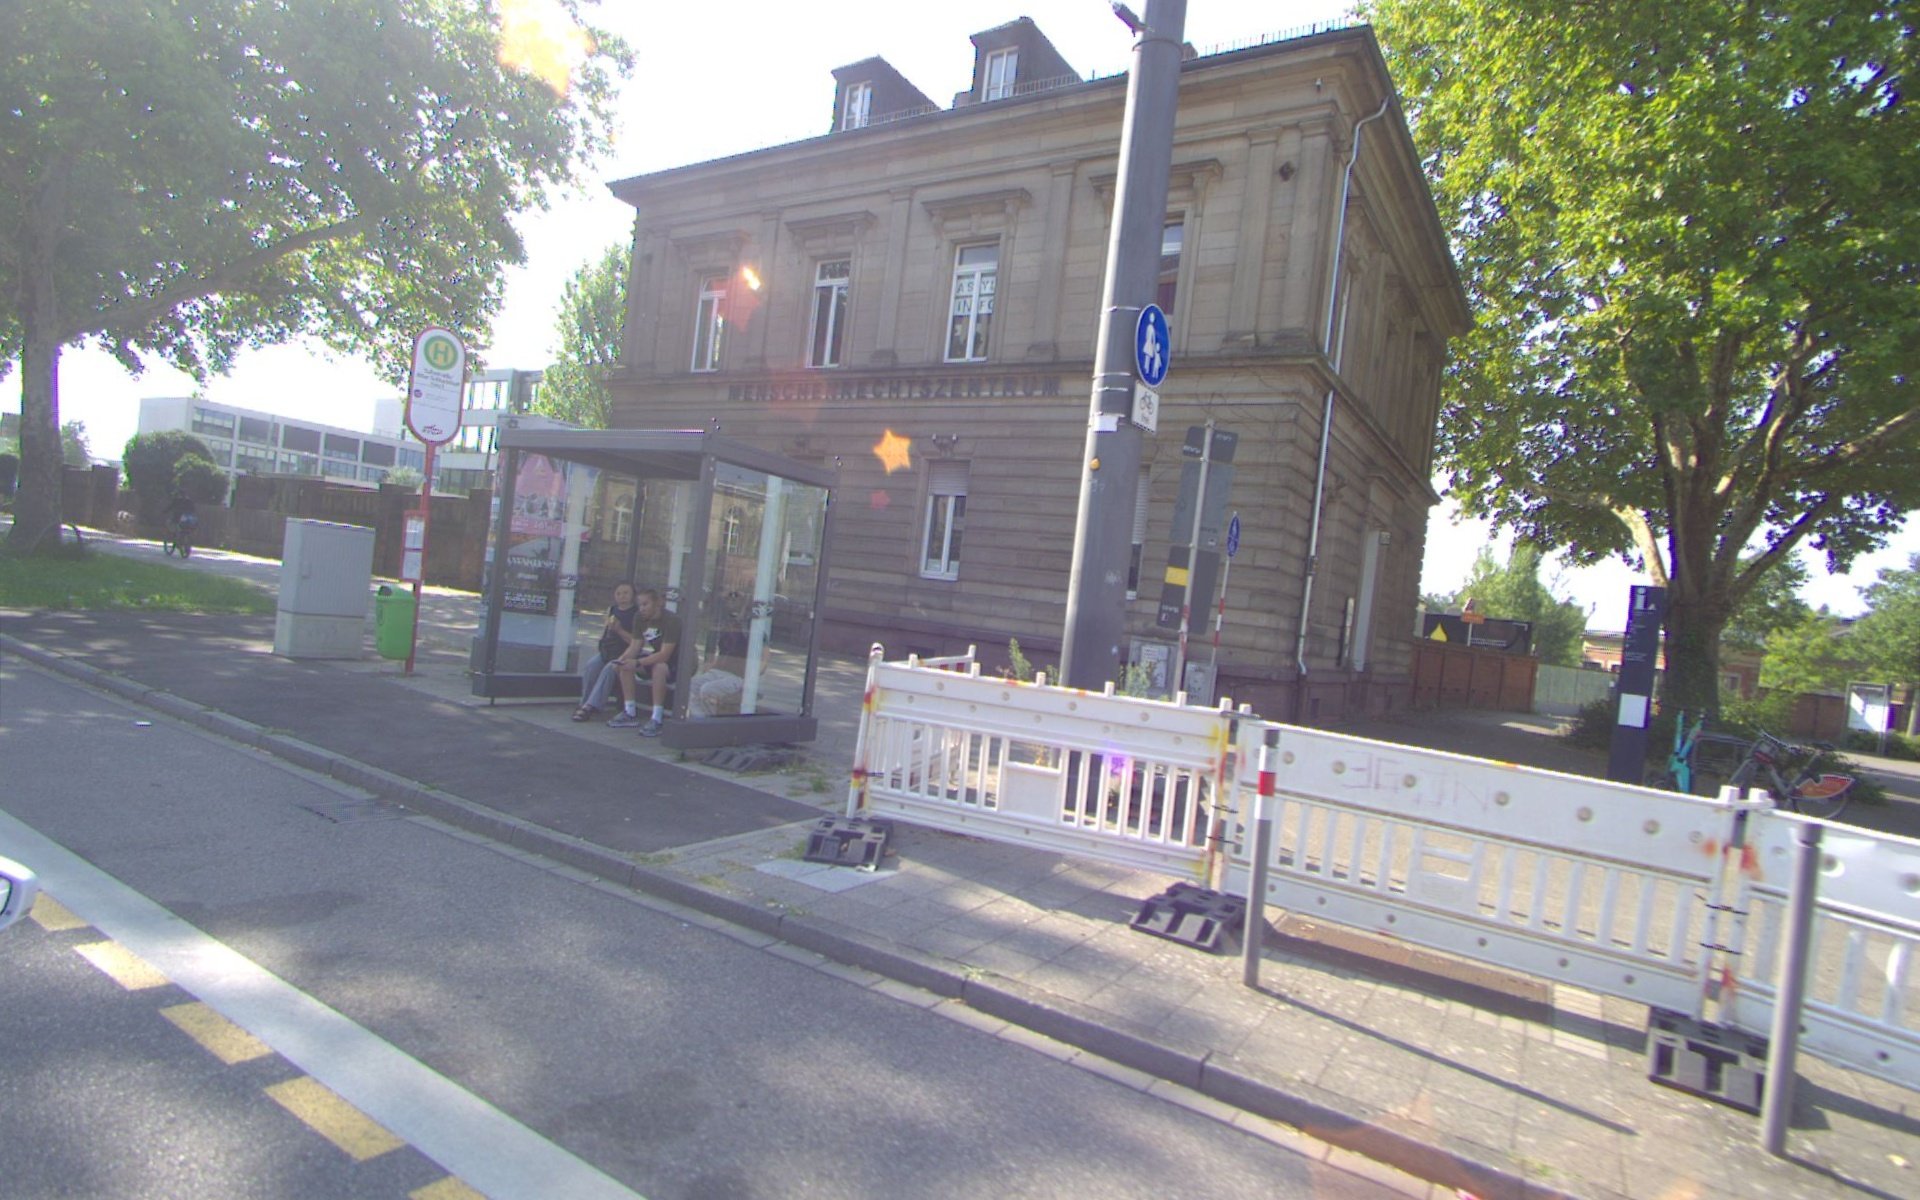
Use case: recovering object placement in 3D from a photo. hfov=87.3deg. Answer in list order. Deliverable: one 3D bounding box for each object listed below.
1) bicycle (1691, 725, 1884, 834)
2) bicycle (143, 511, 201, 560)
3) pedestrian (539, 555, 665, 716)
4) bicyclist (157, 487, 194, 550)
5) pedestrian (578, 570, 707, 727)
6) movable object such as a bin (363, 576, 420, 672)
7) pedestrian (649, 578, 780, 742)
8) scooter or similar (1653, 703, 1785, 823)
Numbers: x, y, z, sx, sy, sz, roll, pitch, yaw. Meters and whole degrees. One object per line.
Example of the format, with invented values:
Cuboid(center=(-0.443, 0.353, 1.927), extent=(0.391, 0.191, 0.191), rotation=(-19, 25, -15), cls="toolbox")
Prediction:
Cuboid(center=(10.758, 2.321, 13.130), extent=(1.783, 1.012, 0.493), rotation=(9, 2, 14), cls="bicycle")
Cuboid(center=(-20.950, -1.718, 26.728), extent=(1.826, 1.102, 0.492), rotation=(7, 1, 30), cls="bicycle")
Cuboid(center=(-3.281, 0.334, 9.255), extent=(0.601, 1.382, 0.751), rotation=(6, -1, 32), cls="pedestrian")
Cuboid(center=(-20.762, -2.154, 26.632), extent=(0.586, 1.559, 0.469), rotation=(7, 1, 30), cls="bicyclist")
Cuboid(center=(-2.778, 0.433, 8.833), extent=(0.601, 1.276, 0.742), rotation=(6, -1, 32), cls="pedestrian")
Cuboid(center=(-5.781, 0.250, 10.228), extent=(0.379, 0.927, 0.271), rotation=(7, 1, 31), cls="movable object such as a bin")
Cuboid(center=(-2.064, 0.507, 8.510), extent=(0.601, 1.276, 0.742), rotation=(6, -1, 32), cls="pedestrian")
Cuboid(center=(9.368, 1.978, 12.434), extent=(1.156, 1.244, 0.425), rotation=(8, 2, 40), cls="scooter or similar")
